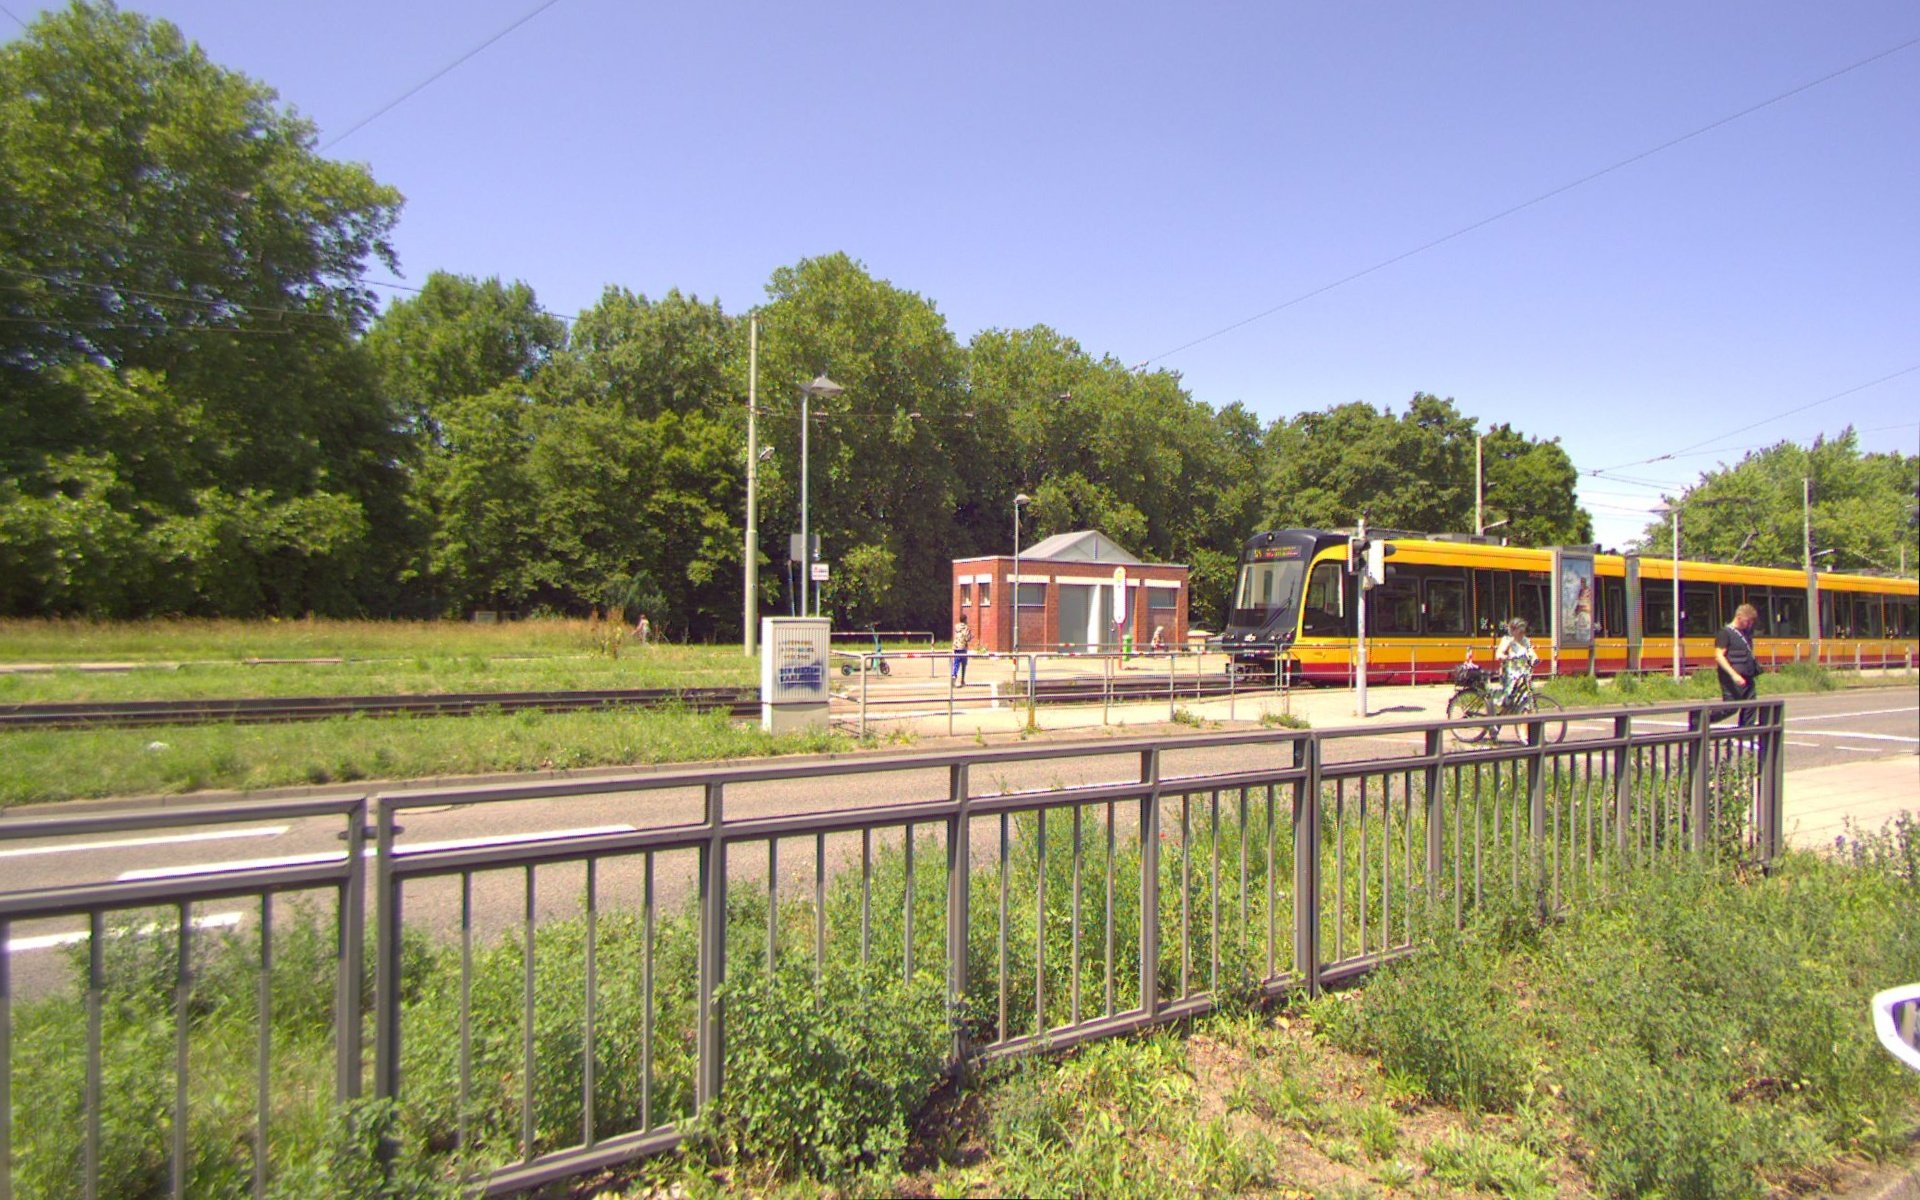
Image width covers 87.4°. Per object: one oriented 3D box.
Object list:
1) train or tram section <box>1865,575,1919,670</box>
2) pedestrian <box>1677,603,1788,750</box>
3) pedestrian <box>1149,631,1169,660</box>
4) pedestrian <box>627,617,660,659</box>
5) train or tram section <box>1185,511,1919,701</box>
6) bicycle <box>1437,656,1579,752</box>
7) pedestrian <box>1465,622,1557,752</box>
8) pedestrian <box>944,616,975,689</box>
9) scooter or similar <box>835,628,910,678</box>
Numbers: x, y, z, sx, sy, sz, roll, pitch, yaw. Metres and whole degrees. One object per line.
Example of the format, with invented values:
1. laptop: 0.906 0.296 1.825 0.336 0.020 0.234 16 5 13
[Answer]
1. train or tram section: 48.610 1.131 46.243 25.694 3.717 2.774 1 -1 -31
2. pedestrian: 9.982 0.964 13.014 0.691 1.820 0.961 1 -1 -1
3. pedestrian: 7.066 1.611 35.600 0.515 1.032 0.479 1 -1 -28
4. pedestrian: -13.516 1.614 42.850 1.245 1.724 0.517 1 -1 15
5. train or tram section: 21.632 0.500 30.332 37.077 3.717 2.774 1 -1 -31
6. bicycle: 7.119 1.318 13.162 0.239 1.172 1.859 1 -3 -24
7. pedestrian: 7.300 1.120 13.328 0.695 1.650 0.817 1 -1 -24
8. pedestrian: -0.003 1.125 22.026 0.527 1.561 0.870 0 -1 10
9. scooter or similar: -2.083 1.254 23.947 1.640 1.142 0.613 1 -1 15
